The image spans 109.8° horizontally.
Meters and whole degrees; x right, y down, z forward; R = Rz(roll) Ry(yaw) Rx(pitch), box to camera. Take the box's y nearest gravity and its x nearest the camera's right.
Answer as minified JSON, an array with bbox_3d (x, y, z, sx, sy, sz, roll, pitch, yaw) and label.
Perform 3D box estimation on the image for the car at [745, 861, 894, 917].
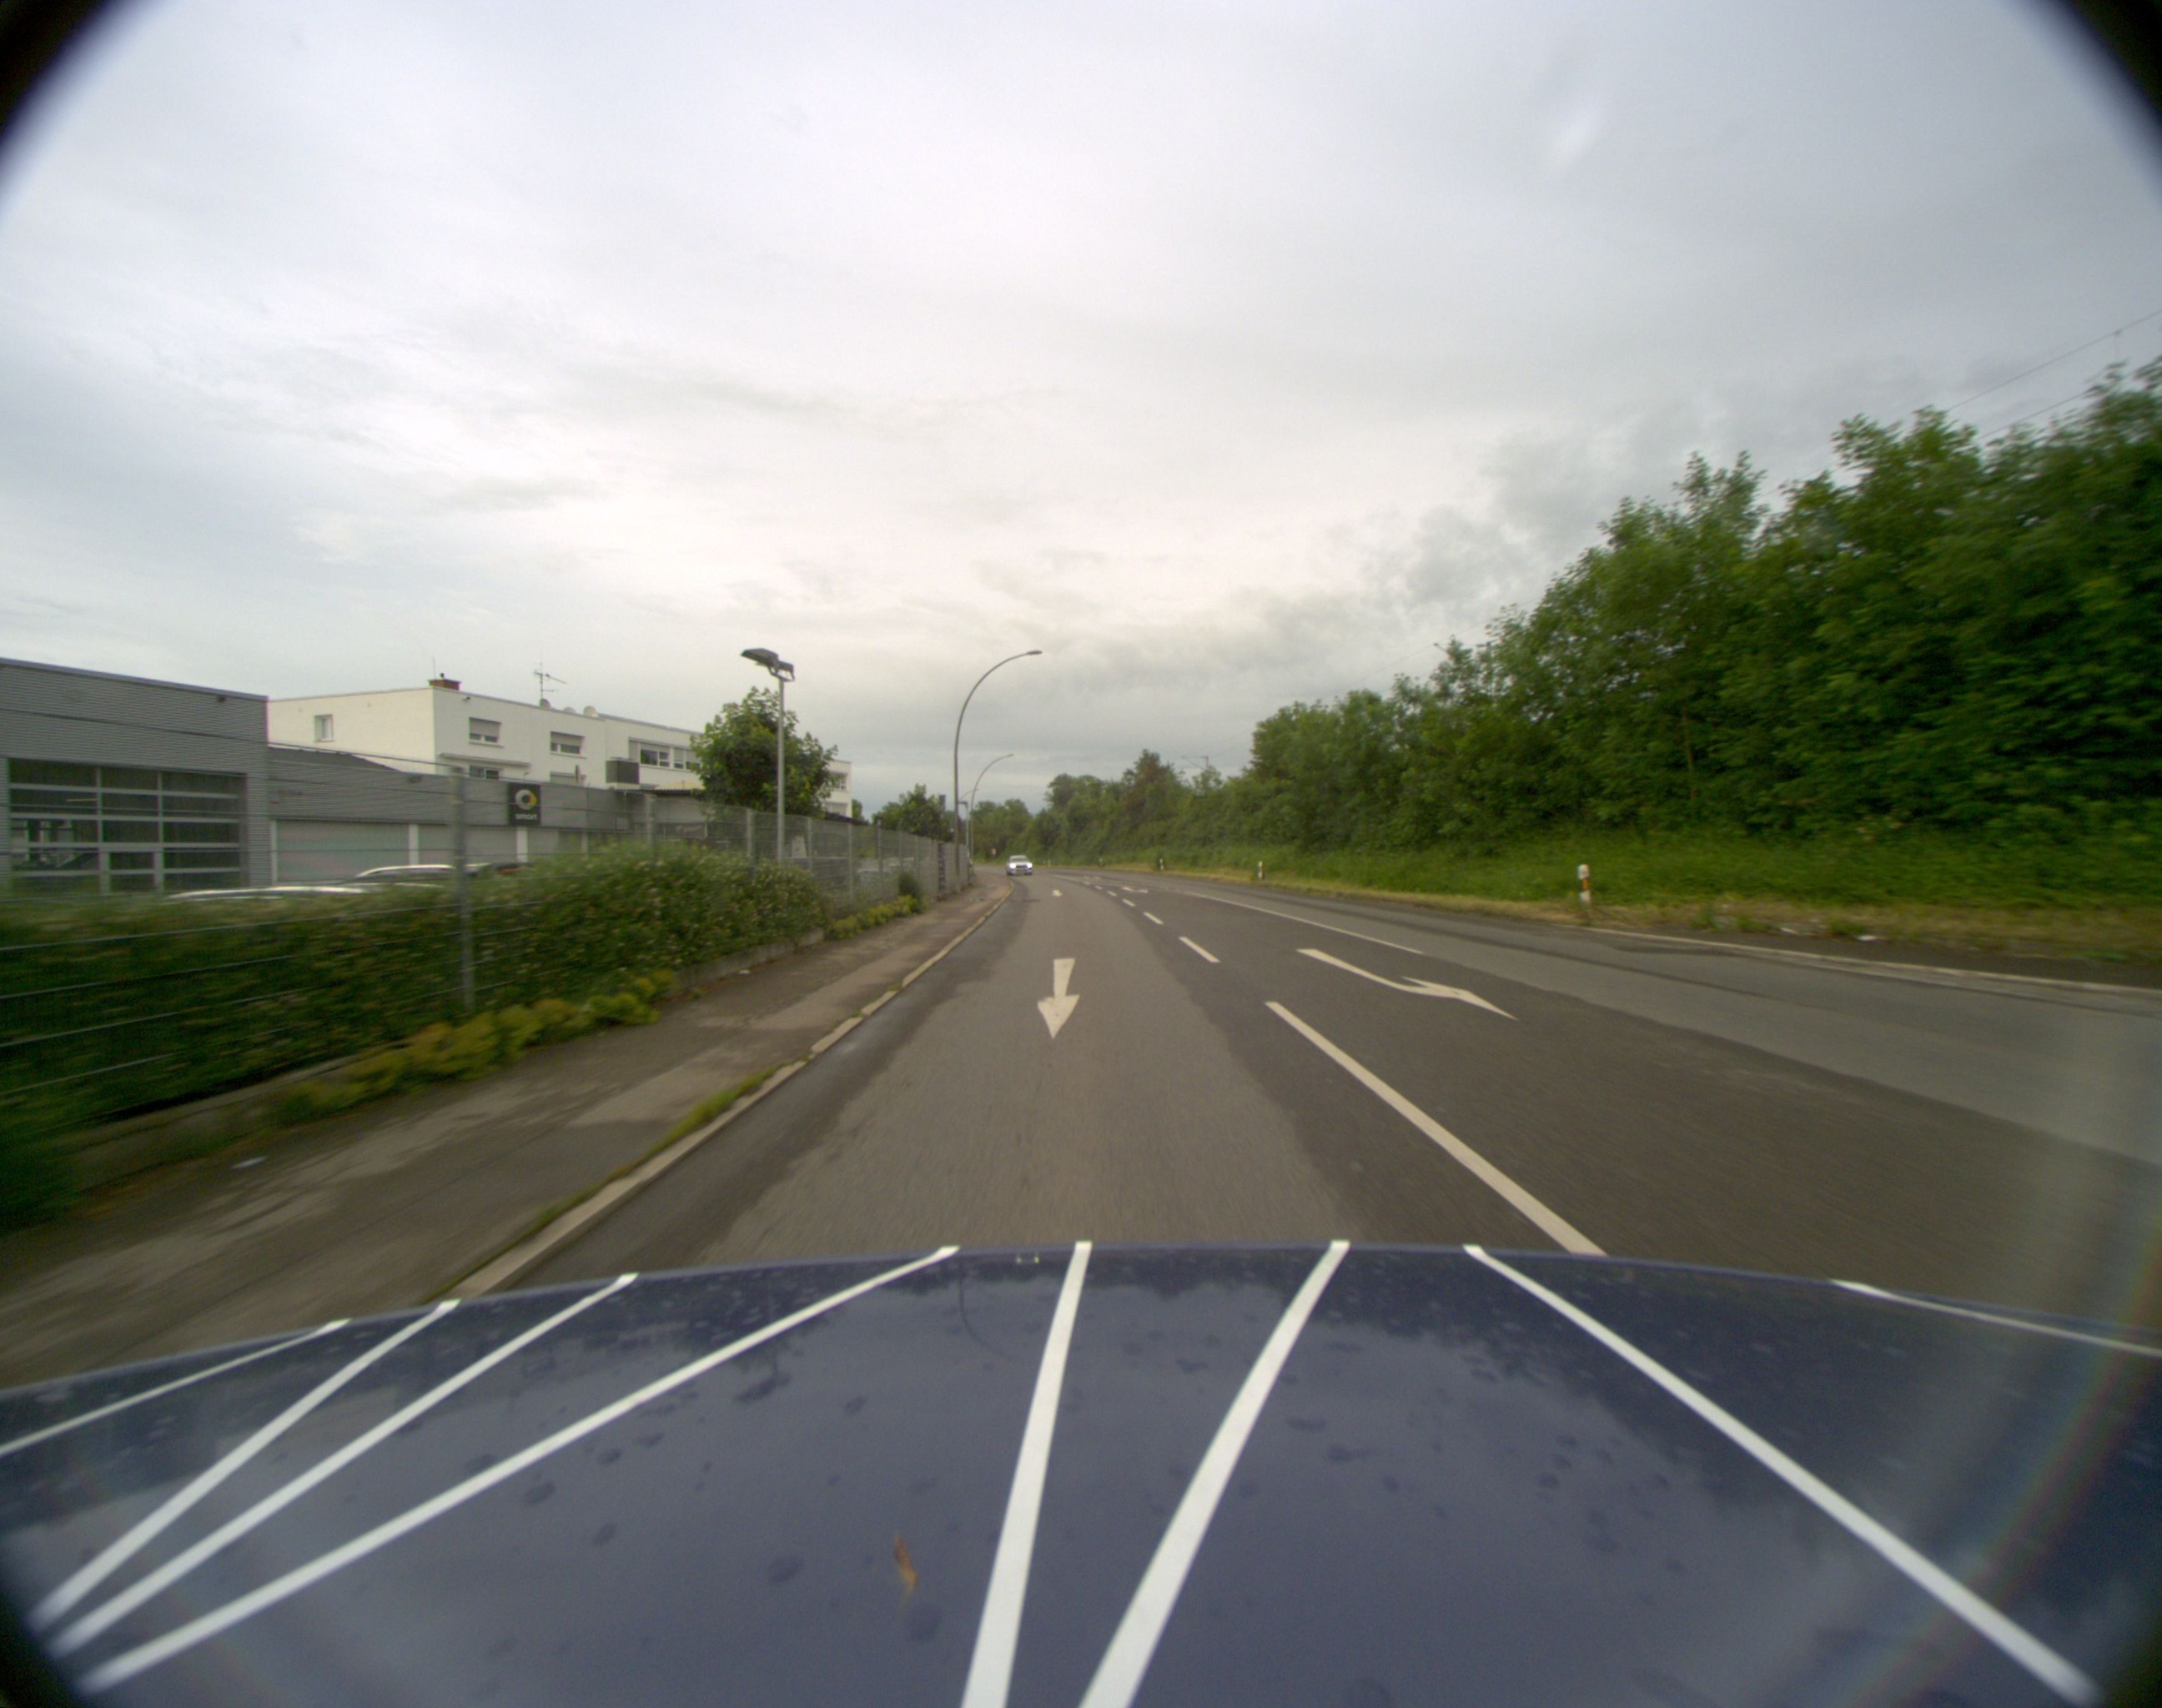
[{"bbox_3d":[-8.215,1.080,24.083,3.996,1.396,1.789,-4,2,3],"label":"car"}]

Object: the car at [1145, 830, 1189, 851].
[{"bbox_3d":[6.895,-1.082,60.984,1.851,1.565,3.819,-1,0,-23],"label":"car"}]
